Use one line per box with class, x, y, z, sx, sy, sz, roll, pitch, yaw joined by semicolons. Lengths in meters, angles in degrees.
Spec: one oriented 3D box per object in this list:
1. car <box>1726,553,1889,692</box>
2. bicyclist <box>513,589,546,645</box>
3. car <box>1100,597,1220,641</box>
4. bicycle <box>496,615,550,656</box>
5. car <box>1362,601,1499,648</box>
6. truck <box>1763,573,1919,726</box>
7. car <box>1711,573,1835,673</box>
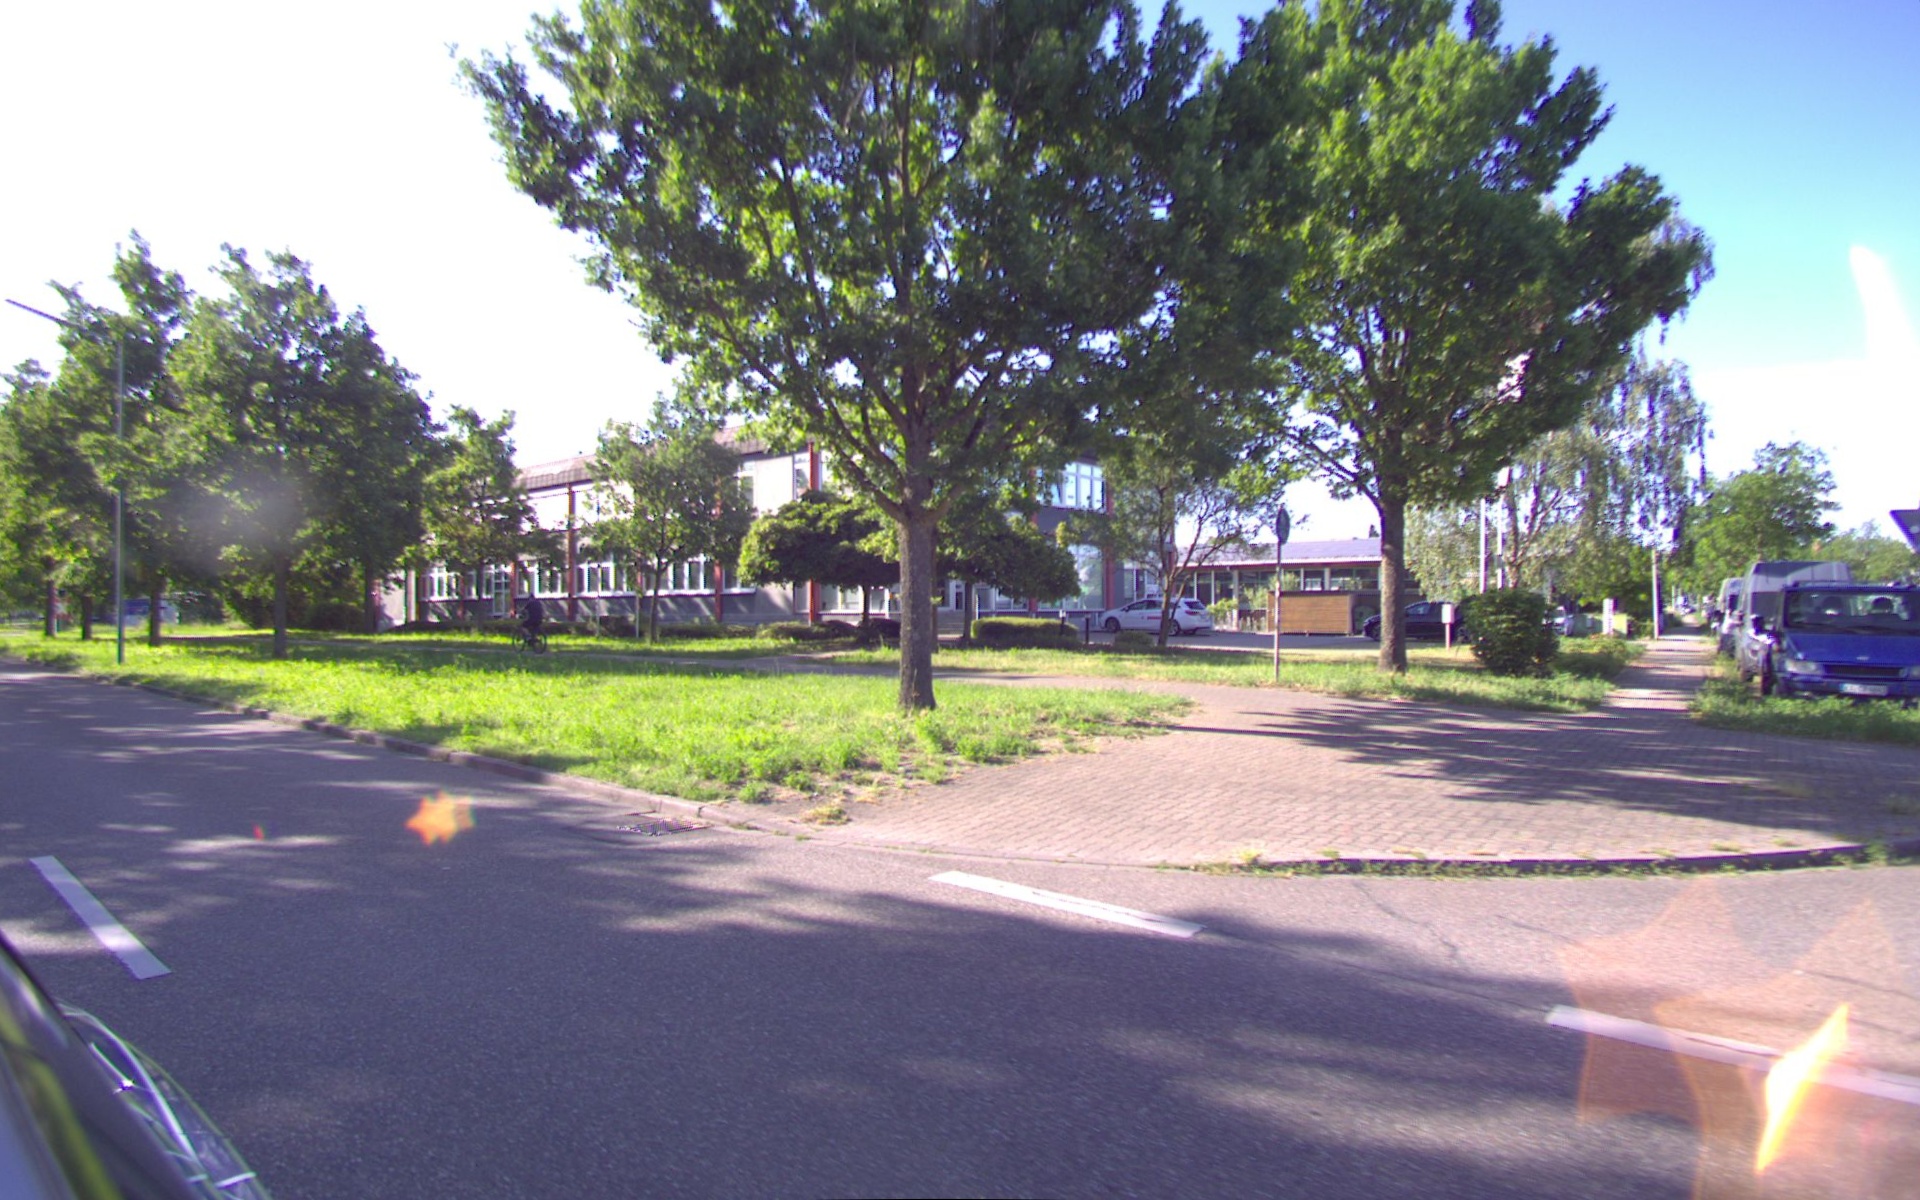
car;18.914;0.387;22.883;2.296;2.723;5.812;0;1;35
bicyclist;-12.944;0.505;30.423;0.658;1.641;0.657;0;1;41
car;7.951;0.717;40.485;4.293;1.505;1.975;2;2;38
bicycle;-13.317;1.048;30.800;2.333;1.170;0.545;0;1;41
car;17.465;0.858;37.677;4.293;1.505;1.975;2;2;38
truck;14.831;0.603;16.814;2.137;2.065;7.045;0;1;37
car;23.031;0.510;28.908;2.296;2.534;6.284;0;1;35
